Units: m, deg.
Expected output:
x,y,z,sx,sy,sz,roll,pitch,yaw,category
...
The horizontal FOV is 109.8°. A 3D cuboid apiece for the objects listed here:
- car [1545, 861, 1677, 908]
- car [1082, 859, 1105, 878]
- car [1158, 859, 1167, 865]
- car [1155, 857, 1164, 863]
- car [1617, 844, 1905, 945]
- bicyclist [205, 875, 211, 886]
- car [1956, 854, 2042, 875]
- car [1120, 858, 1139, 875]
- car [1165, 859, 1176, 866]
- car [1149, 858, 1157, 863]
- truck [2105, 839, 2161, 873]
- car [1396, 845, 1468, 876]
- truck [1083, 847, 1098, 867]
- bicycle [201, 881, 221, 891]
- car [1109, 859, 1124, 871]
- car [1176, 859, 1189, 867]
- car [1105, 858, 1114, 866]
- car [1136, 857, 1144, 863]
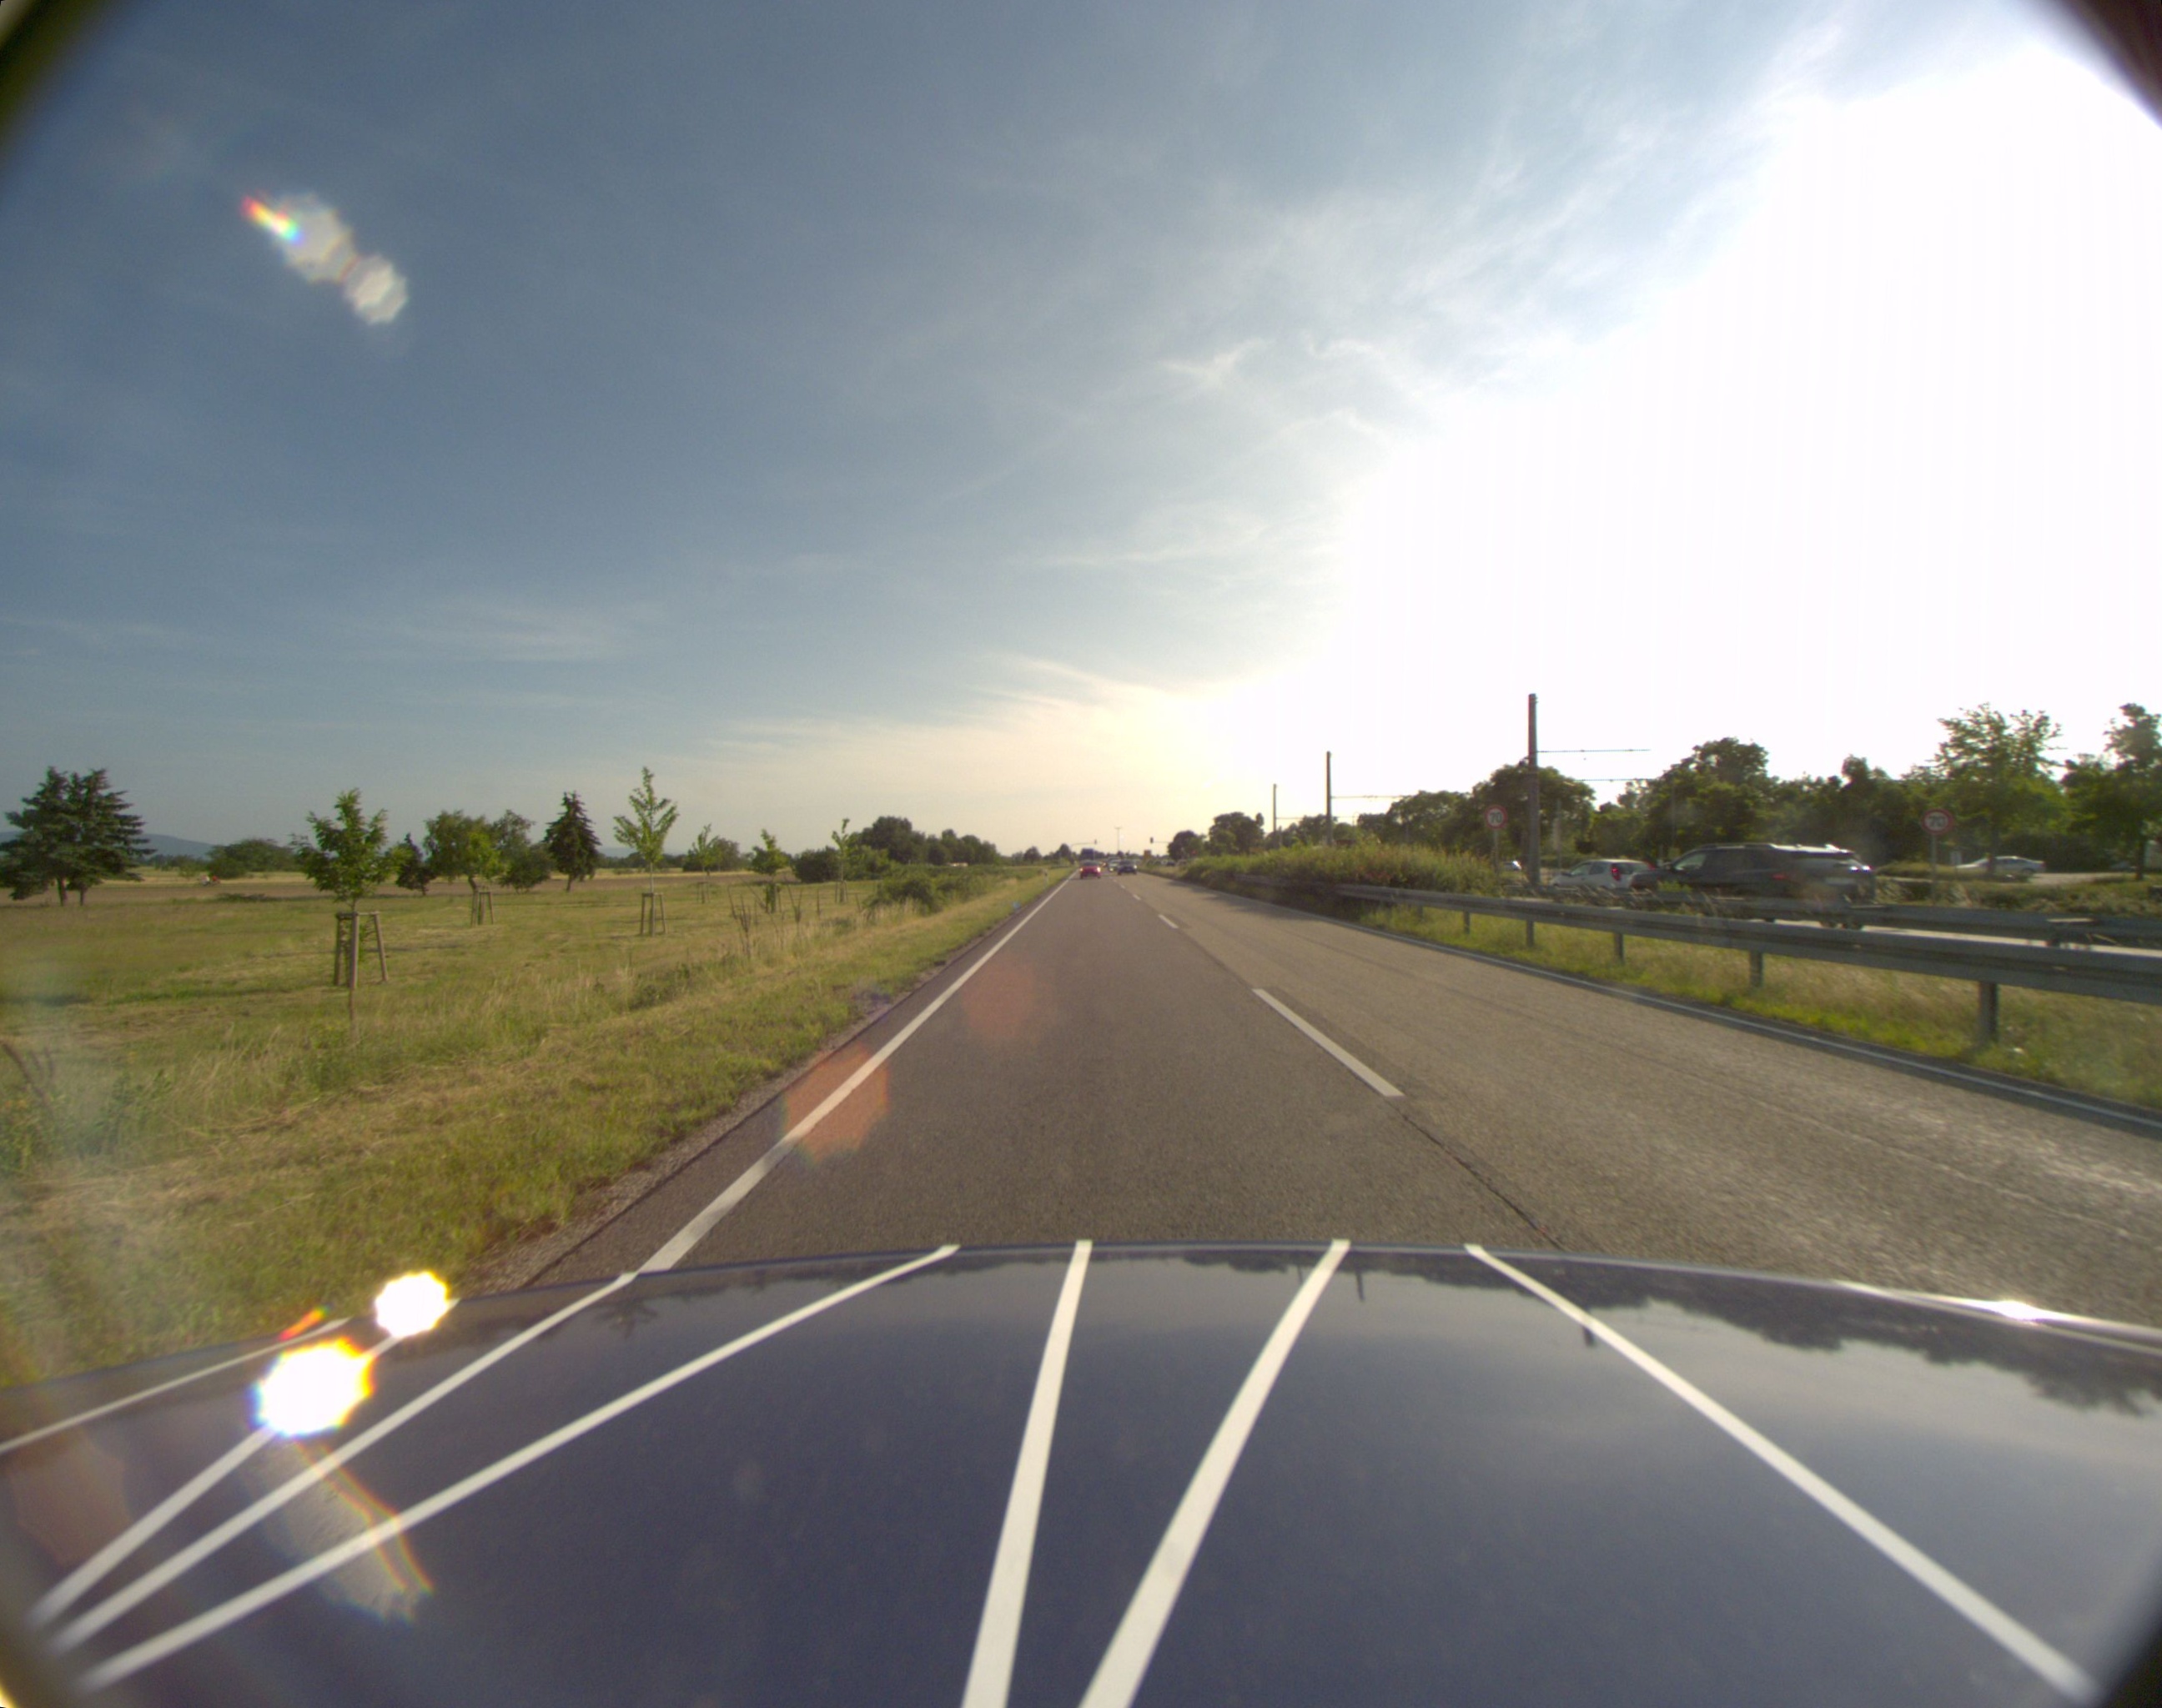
x,y,z,sx,sy,sz,roll,pitch,yaw,category
17.075,0.940,24.708,1.733,1.358,3.622,2,0,1,car
1.025,1.189,62.822,1.735,1.467,4.000,-2,0,1,car
18.248,1.767,170.196,1.664,1.373,4.468,1,0,1,car
19.516,1.493,189.062,1.664,1.373,4.000,1,0,0,car
12.856,0.685,14.829,1.733,1.624,4.319,2,0,1,car
-132.938,3.994,115.679,0.486,1.587,0.551,-2,0,43,bicyclist
65.205,0.732,54.035,1.733,1.358,3.622,2,0,1,car
4.666,1.205,73.604,1.636,1.499,4.000,-2,0,1,car
18.068,1.678,154.361,1.664,1.407,4.976,1,0,1,car
19.611,1.779,208.087,1.801,1.580,4.000,1,0,0,car
75.273,0.082,51.928,5.970,2.235,2.004,-3,0,40,truck
16.696,0.322,36.313,1.733,1.358,3.622,2,0,1,car
1.902,0.593,157.451,2.849,3.896,10.105,-2,0,1,truck
-132.707,4.866,115.872,0.502,1.522,1.981,-2,0,44,bicycle
4.344,1.324,93.377,1.636,1.442,4.000,-2,0,1,car
18.032,1.588,135.049,1.664,1.373,4.542,1,0,1,car
5.349,1.502,144.304,1.636,1.442,4.000,-2,0,1,car
15.496,1.599,201.040,1.823,1.461,4.294,1,0,1,car
